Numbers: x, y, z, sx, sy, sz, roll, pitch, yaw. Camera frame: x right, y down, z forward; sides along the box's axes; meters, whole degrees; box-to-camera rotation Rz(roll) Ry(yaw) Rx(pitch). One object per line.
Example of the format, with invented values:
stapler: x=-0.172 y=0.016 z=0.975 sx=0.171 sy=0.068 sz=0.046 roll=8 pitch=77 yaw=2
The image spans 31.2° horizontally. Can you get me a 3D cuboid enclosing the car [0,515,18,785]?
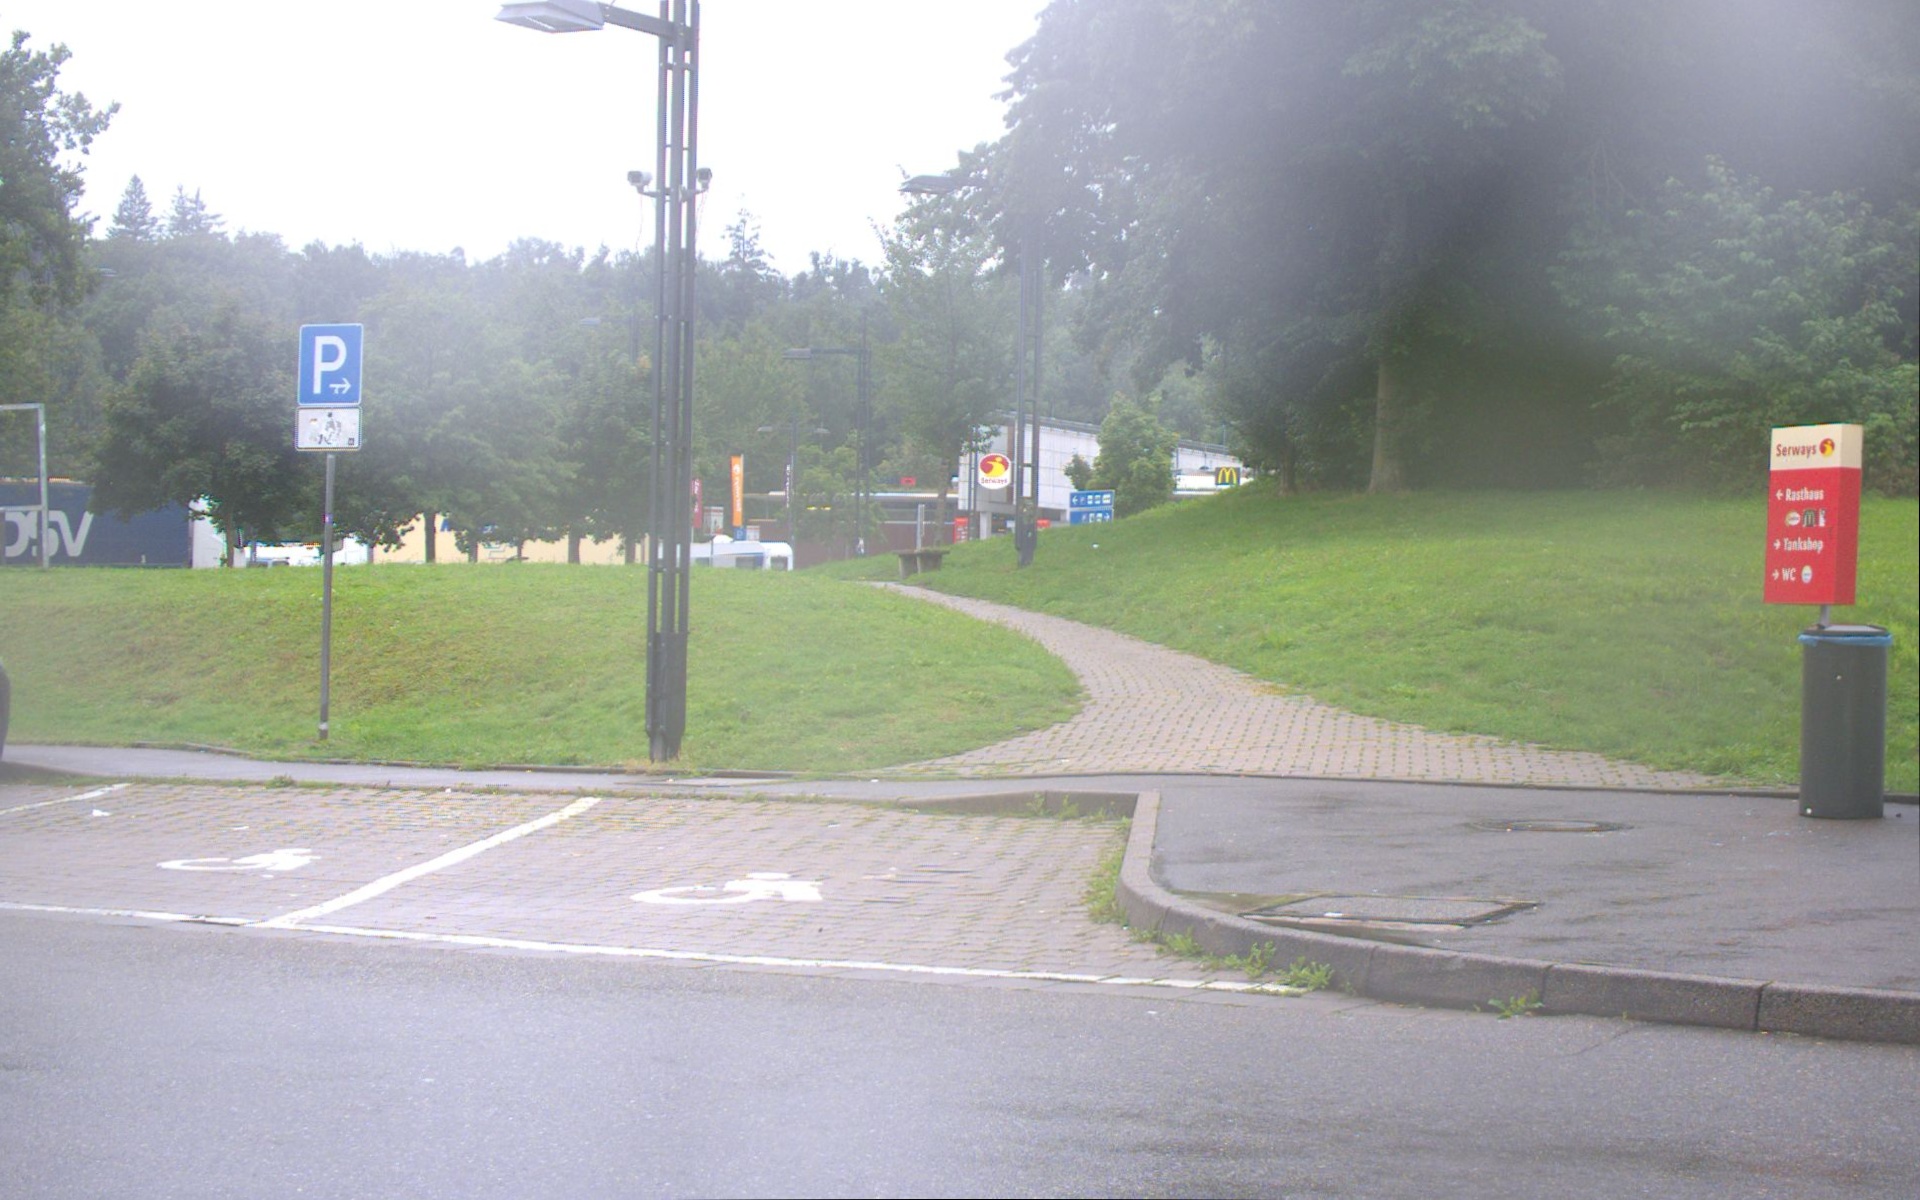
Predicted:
car: x=-7.771 y=0.374 z=21.432 sx=1.885 sy=1.821 sz=4.411 roll=0 pitch=1 yaw=11

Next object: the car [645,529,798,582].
car: x=-9.276 y=-1.731 z=133.760 sx=5.429 sy=2.007 sz=2.453 roll=1 pitch=1 yaw=20
